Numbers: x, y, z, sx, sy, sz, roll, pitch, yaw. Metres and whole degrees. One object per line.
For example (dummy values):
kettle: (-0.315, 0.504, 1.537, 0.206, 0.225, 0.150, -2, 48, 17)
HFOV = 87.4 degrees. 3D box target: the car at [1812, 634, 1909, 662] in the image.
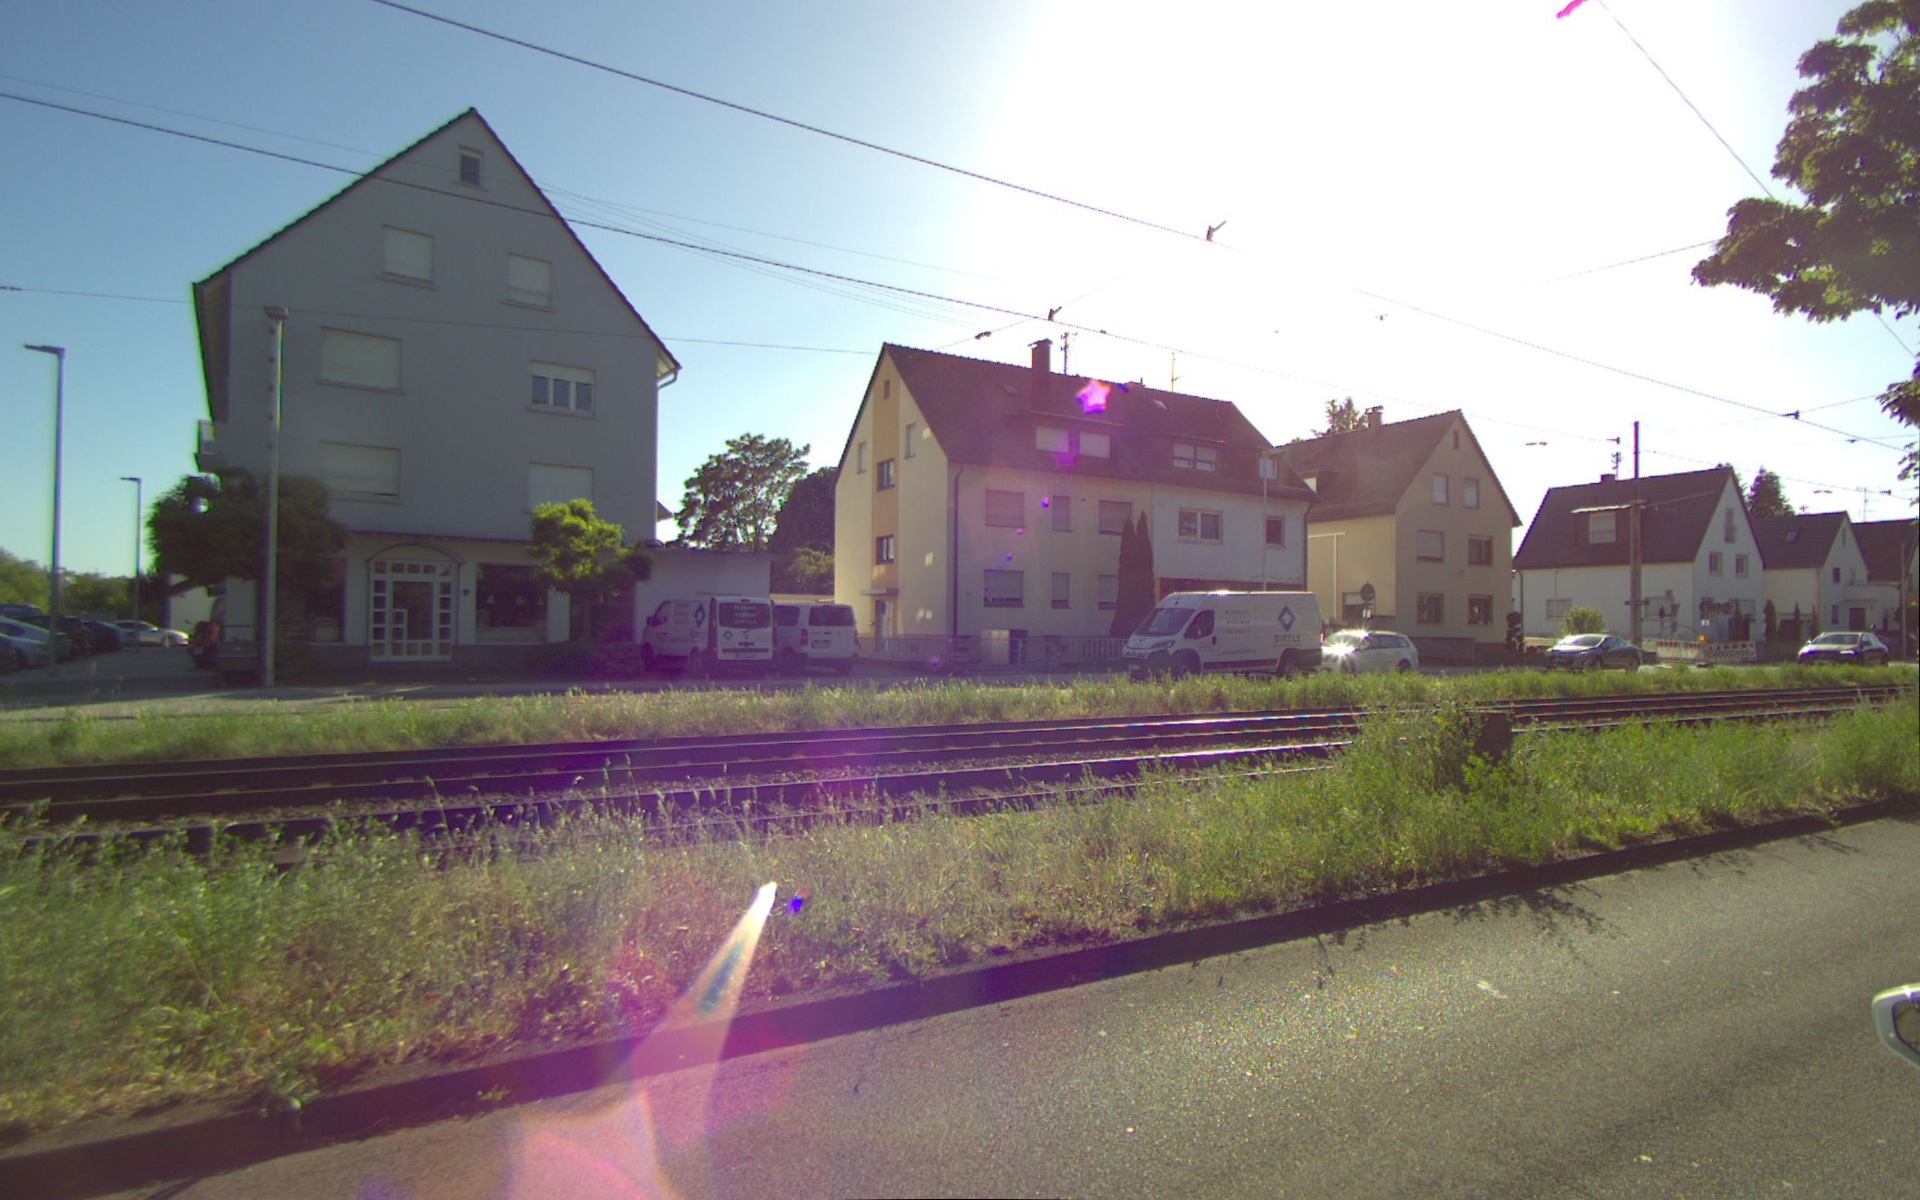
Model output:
car: (56.192, 2.976, 62.759, 1.917, 1.483, 4.188, 2, -1, -33)

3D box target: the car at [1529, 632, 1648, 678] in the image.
car: (23.946, 2.052, 38.257, 4.444, 1.603, 1.984, 1, 0, -30)

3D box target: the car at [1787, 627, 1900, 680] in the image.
car: (34.497, 2.067, 39.197, 4.469, 1.908, 1.907, 2, 0, -29)

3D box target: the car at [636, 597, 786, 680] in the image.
car: (-6.548, 0.938, 26.120, 1.984, 1.971, 4.579, 2, -1, -40)

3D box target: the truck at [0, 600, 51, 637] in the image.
truck: (-57.536, 1.101, 61.655, 1.980, 2.117, 4.088, 2, 0, -35)

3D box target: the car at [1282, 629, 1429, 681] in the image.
car: (12.346, 1.704, 31.246, 4.604, 1.431, 1.815, 2, 0, -31)

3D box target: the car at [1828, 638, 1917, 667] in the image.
car: (59.854, 3.402, 65.940, 1.979, 1.691, 3.963, 2, 0, -33)

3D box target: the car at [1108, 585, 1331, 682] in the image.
car: (7.415, 0.969, 28.350, 6.598, 2.492, 1.983, 2, 0, -31)

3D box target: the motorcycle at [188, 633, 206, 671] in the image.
motorcycle: (-17.944, 1.215, 23.625, 0.309, 0.863, 0.884, 1, -2, -37)

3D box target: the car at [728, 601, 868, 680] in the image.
car: (-4.521, 1.057, 27.646, 1.984, 1.978, 4.103, 2, -1, -40)

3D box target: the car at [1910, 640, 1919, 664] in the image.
car: (55.972, 2.993, 57.259, 3.951, 1.344, 1.487, 2, 0, -29)

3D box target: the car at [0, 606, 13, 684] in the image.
car: (-23.438, 0.941, 21.765, 4.065, 1.692, 1.781, 2, -1, -39)

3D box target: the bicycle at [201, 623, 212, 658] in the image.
bicycle: (-18.519, 0.992, 24.689, 0.190, 0.863, 0.751, 1, -2, -37)
